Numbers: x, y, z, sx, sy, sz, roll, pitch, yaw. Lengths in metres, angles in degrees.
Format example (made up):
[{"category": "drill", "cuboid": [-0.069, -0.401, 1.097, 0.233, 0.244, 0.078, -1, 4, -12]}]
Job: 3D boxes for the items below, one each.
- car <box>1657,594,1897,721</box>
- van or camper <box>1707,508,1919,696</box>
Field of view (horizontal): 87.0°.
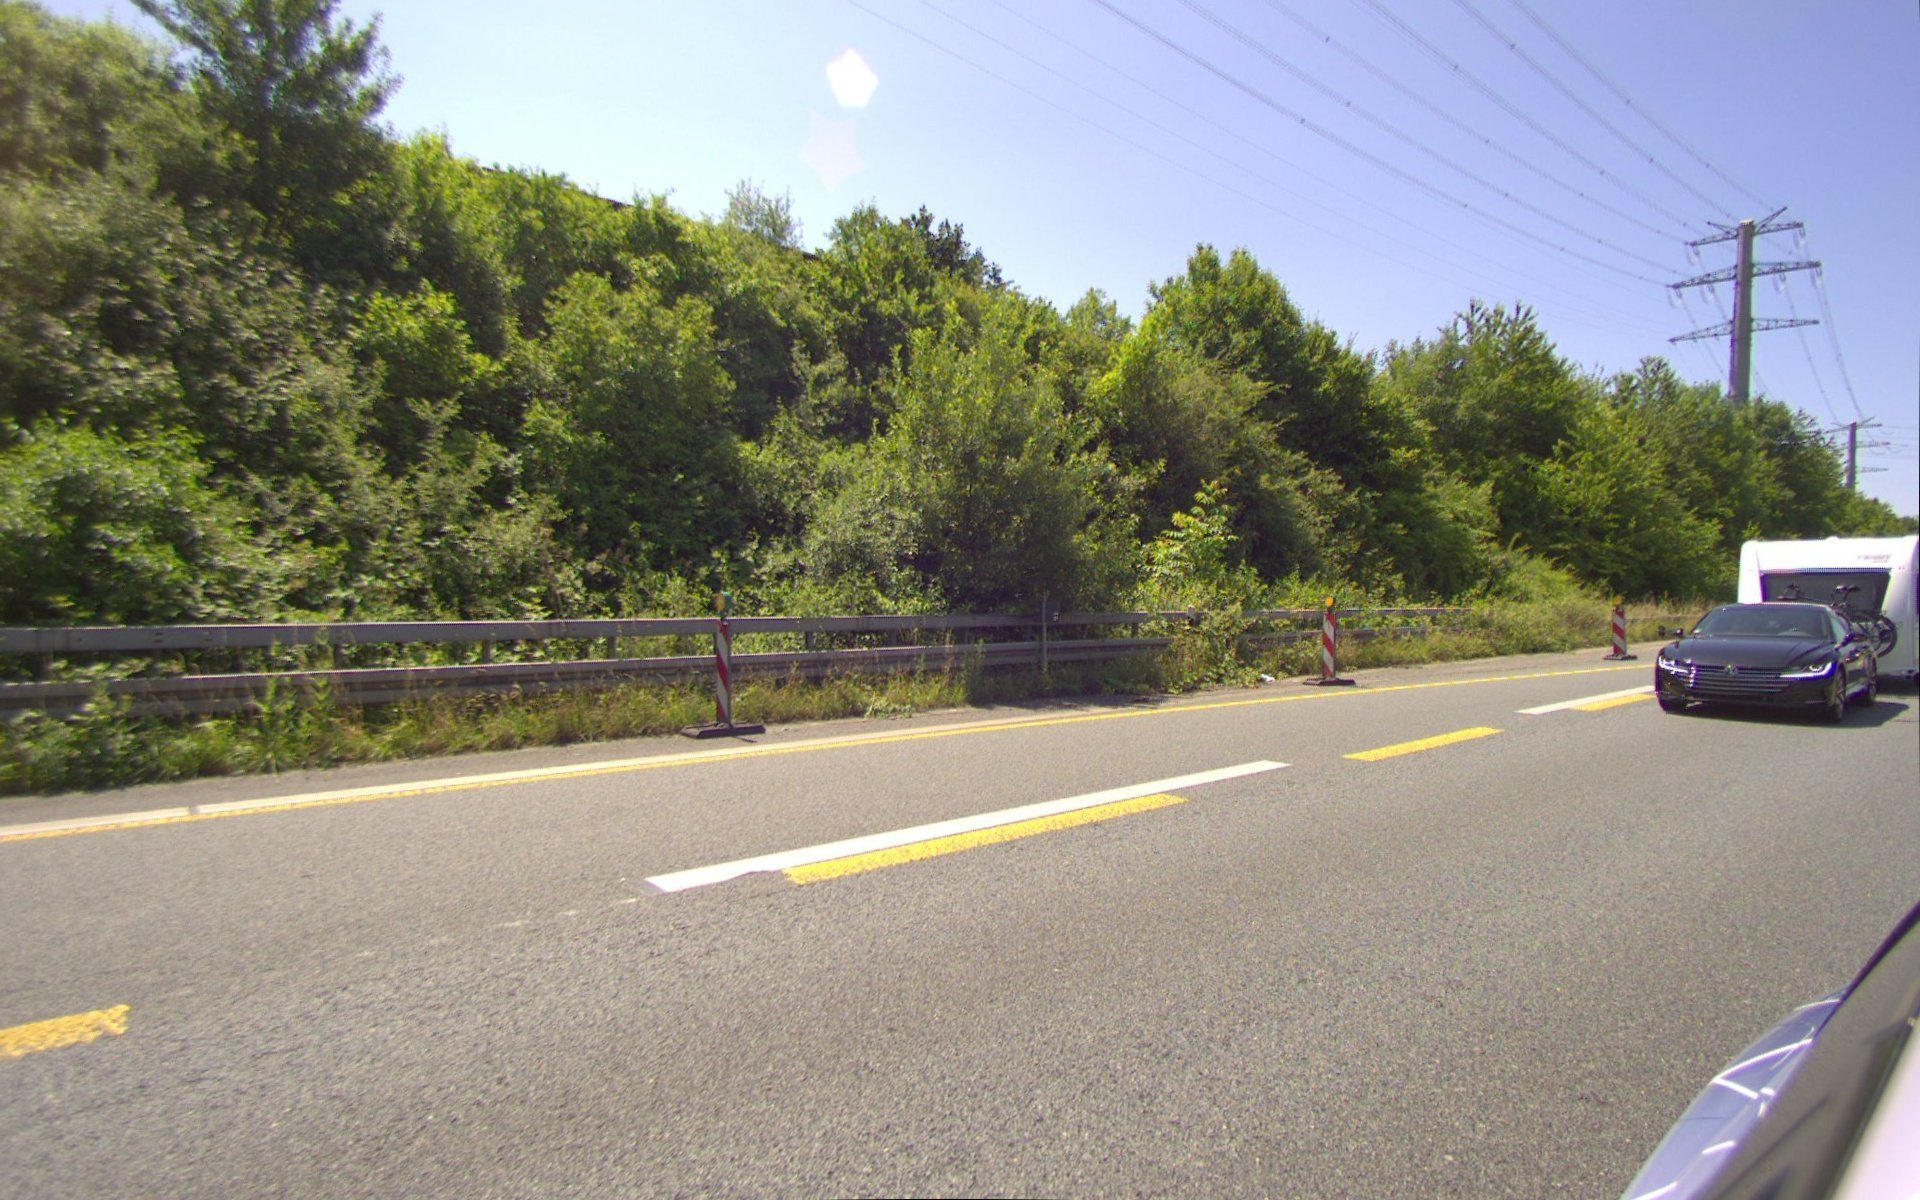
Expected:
[{"category": "car", "cuboid": [10.924, 0.632, 13.432, 4.136, 1.425, 1.799, 0, 0, -41]}, {"category": "van or camper", "cuboid": [15.590, -0.008, 17.618, 8.270, 2.597, 2.430, 0, 0, -41]}]
